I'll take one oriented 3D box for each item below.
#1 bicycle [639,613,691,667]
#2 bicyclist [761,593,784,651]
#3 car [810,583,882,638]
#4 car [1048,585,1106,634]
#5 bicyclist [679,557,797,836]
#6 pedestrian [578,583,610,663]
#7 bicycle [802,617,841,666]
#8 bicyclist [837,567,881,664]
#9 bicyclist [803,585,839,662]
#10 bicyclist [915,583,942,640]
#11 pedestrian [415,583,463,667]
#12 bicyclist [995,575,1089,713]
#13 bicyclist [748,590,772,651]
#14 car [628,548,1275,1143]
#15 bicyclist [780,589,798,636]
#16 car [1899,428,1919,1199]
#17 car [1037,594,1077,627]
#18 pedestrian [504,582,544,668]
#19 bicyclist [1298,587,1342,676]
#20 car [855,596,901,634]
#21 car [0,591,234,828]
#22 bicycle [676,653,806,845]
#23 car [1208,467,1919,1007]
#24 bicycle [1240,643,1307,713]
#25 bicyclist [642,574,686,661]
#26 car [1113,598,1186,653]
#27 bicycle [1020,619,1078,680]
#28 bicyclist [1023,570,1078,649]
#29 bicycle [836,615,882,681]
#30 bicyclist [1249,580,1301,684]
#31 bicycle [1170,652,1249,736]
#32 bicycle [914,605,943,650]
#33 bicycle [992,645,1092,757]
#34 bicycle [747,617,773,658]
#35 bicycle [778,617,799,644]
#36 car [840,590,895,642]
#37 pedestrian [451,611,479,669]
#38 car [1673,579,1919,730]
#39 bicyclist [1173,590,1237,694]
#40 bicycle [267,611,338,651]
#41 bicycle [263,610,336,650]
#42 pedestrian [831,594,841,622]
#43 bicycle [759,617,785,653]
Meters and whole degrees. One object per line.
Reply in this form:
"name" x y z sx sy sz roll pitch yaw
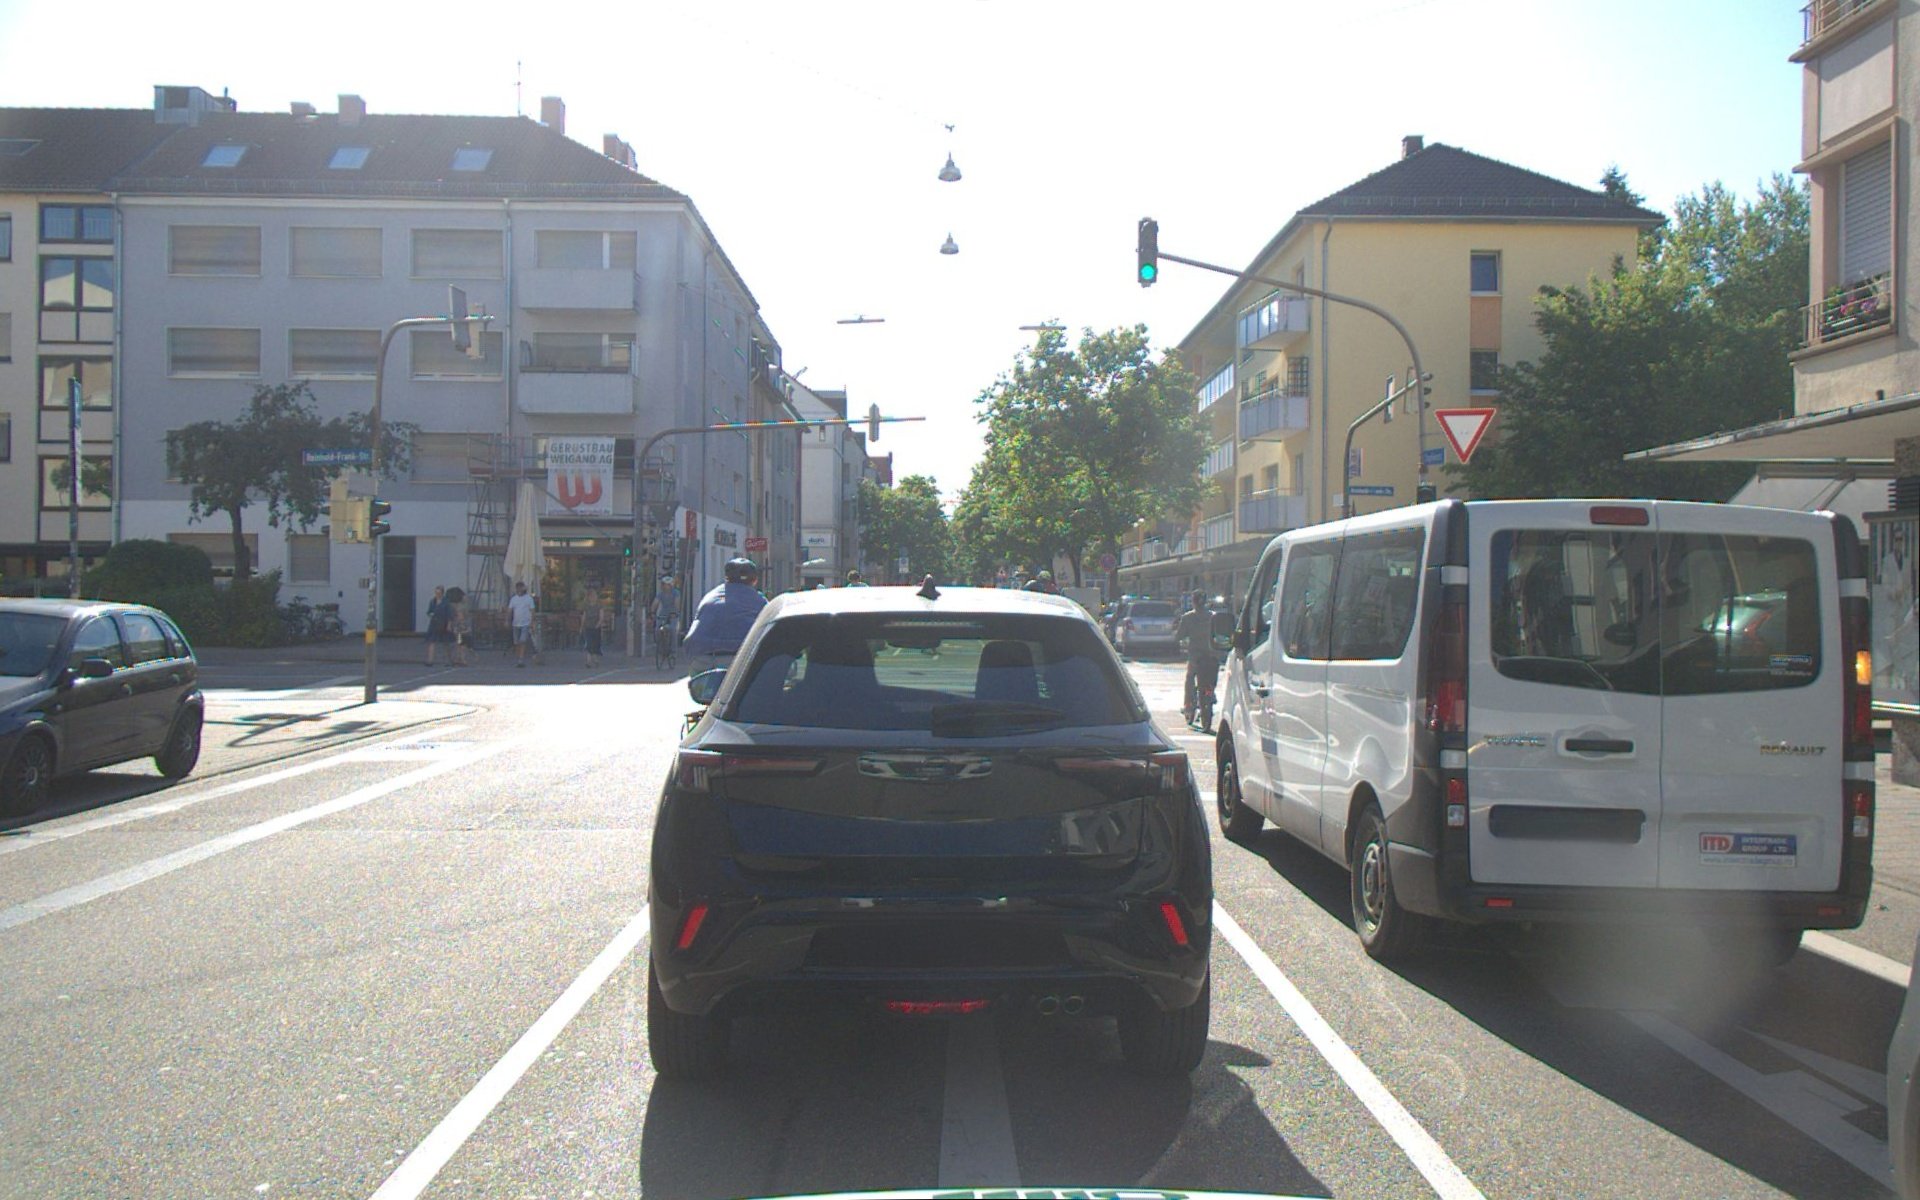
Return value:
"bicycle" -5.729 0.761 32.185 0.666 0.969 1.933 -1 0 -1
"bicyclist" -5.124 0.597 45.152 0.531 1.547 0.774 0 0 -1
"car" -3.130 0.262 46.053 1.800 1.459 4.175 0 0 -1
"car" 4.609 0.339 65.697 2.004 1.879 4.584 0 0 1
"bicyclist" -1.408 0.585 10.614 0.619 1.698 1.050 0 0 -1
"pedestrian" -7.413 0.460 33.491 0.520 1.609 0.563 0 0 -1
"bicycle" -2.938 0.867 35.232 0.666 0.969 1.933 -1 0 -1
"bicyclist" -1.739 0.268 28.659 0.702 1.648 0.946 0 0 -1
"bicyclist" -2.950 0.494 35.145 0.666 1.604 0.899 -1 0 -1
"bicyclist" -0.918 0.329 48.650 0.785 1.678 1.125 0 0 0
"pedestrian" -10.776 0.505 34.248 0.561 1.712 0.969 0 0 10
"bicyclist" 0.826 0.433 17.034 0.839 1.337 1.210 2 0 -1
"bicyclist" -4.724 0.481 39.175 0.532 1.415 0.787 0 0 -5
"car" -0.047 0.663 6.434 1.726 1.586 3.999 0 0 -1
"bicyclist" -5.732 0.420 55.467 0.542 1.576 0.814 1 0 -2
"car" 3.056 0.561 1.173 1.928 1.842 4.831 0 0 -2
"car" 4.548 0.479 78.075 1.677 1.509 3.380 0 0 0
"pedestrian" -8.806 0.492 33.409 0.561 1.718 0.670 0 0 5
"bicyclist" 5.786 0.498 26.586 0.535 1.406 0.823 0 0 0
"car" -3.314 0.596 67.058 1.769 1.437 4.423 -1 0 -3
"car" -7.101 0.703 12.411 1.657 1.473 3.855 2 0 -2
"bicycle" -1.375 0.904 10.642 0.619 1.059 1.795 0 0 -1
"car" 2.713 0.523 8.733 1.928 1.974 5.054 2 0 -1
"bicycle" 4.379 1.071 23.195 0.607 0.881 1.876 0 0 1
"bicyclist" -5.748 0.331 32.158 0.666 1.659 0.899 -1 0 -1
"car" 5.359 0.697 47.086 1.677 1.509 3.480 0 0 0
"bicycle" 1.561 0.856 29.373 0.839 0.961 2.307 2 0 -1
"bicyclist" 1.586 0.167 29.288 0.839 1.337 1.210 2 0 -1
"bicycle" -1.733 0.808 28.641 0.702 1.082 1.872 0 0 -1
"bicyclist" 4.376 0.435 23.017 0.576 1.406 0.823 0 0 0
"bicycle" 2.943 1.091 19.652 0.677 0.881 1.876 0 0 0
"bicycle" -0.917 0.782 48.665 0.785 1.277 2.139 0 0 0
"bicycle" 0.805 0.998 16.961 0.839 0.961 2.307 2 0 -1
"bicycle" -4.717 0.873 39.097 0.532 0.918 1.824 0 0 -4
"bicycle" -5.737 1.028 55.411 0.542 0.848 2.130 1 0 -3
"car" -2.965 0.507 53.541 1.559 1.593 4.088 -1 0 0
"pedestrian" -10.197 0.820 34.081 0.377 1.166 0.532 0 0 2
"car" 10.780 0.615 19.586 3.905 1.691 1.825 0 0 -1
"bicyclist" 2.916 0.489 19.744 0.677 1.214 0.595 0 0 0
"bicycle" -16.131 0.755 40.586 1.556 0.956 0.512 0 0 1
"bicycle" -15.960 0.727 39.962 1.556 0.956 0.512 0 0 1
"pedestrian" -7.183 0.465 95.694 0.566 1.610 0.707 0 0 -6
"bicycle" -5.124 0.940 45.131 0.531 0.918 1.826 0 0 -1
